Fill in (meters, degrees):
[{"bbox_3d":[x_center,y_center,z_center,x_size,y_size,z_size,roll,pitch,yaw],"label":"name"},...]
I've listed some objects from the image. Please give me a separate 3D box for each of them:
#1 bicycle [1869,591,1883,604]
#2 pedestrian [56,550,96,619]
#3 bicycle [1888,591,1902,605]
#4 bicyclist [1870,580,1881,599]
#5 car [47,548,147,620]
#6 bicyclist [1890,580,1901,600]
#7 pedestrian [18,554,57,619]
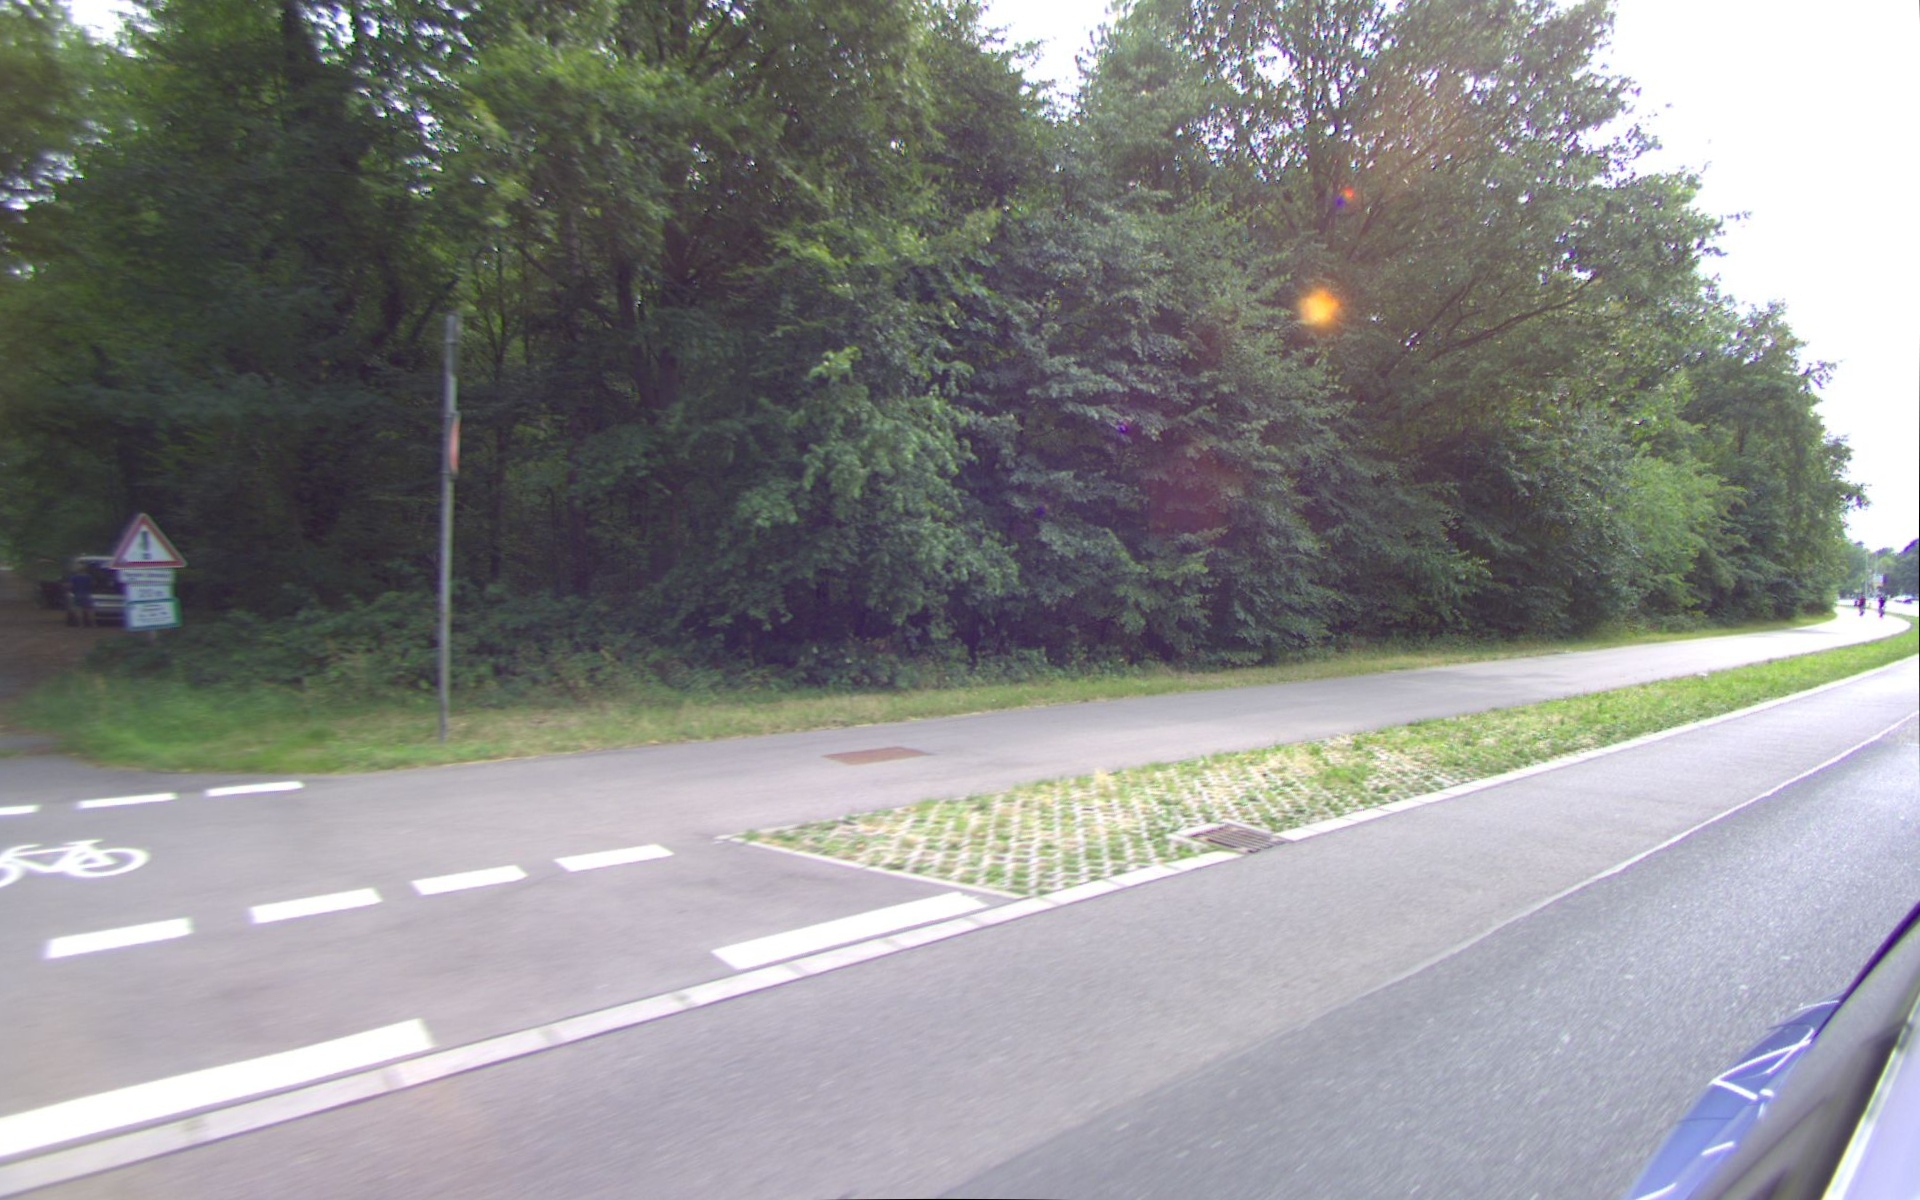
[{"bbox_3d":[66.906,-0.182,73.941,0.565,0.923,1.860,4,2,39],"label":"bicycle"},{"bbox_3d":[-22.635,-0.385,25.918,0.745,1.730,0.664,-1,-1,-43],"label":"pedestrian"},{"bbox_3d":[67.781,-0.156,73.358,0.565,0.923,1.730,4,3,39],"label":"bicycle"},{"bbox_3d":[66.921,-0.769,73.974,0.519,1.433,1.170,-1,0,39],"label":"bicyclist"},{"bbox_3d":[-23.905,-0.398,27.981,1.966,1.816,3.991,-1,0,-42],"label":"car"},{"bbox_3d":[67.856,-0.765,73.425,0.519,1.433,1.170,1,1,39],"label":"bicyclist"},{"bbox_3d":[-25.108,-0.368,27.555,0.544,1.730,0.667,-1,-1,-20],"label":"pedestrian"}]
